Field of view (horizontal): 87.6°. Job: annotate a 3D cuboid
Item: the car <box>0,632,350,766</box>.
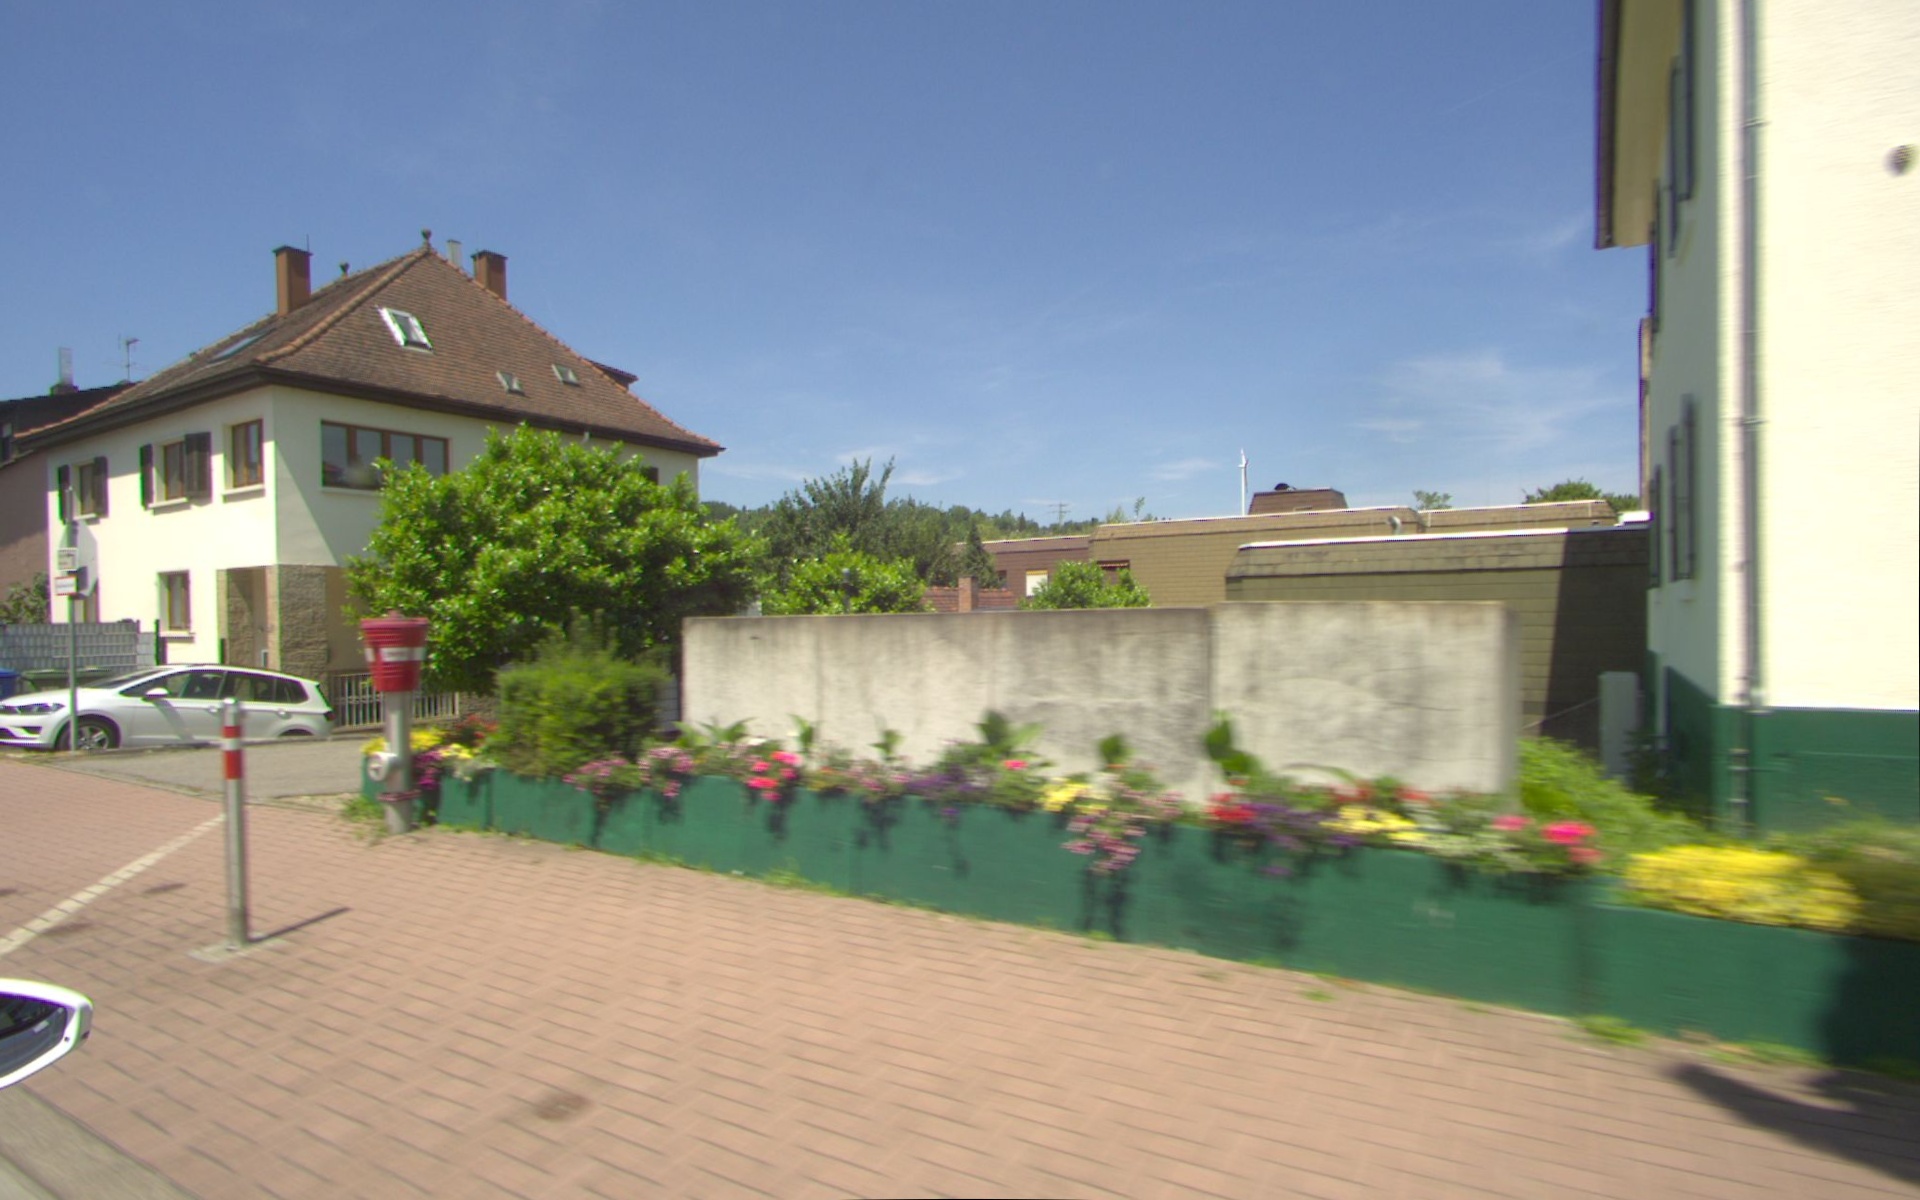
[{"bbox_3d":[-12.321,1.633,15.703,1.880,1.603,4.175,-1,-11,32],"label":"car"}]
